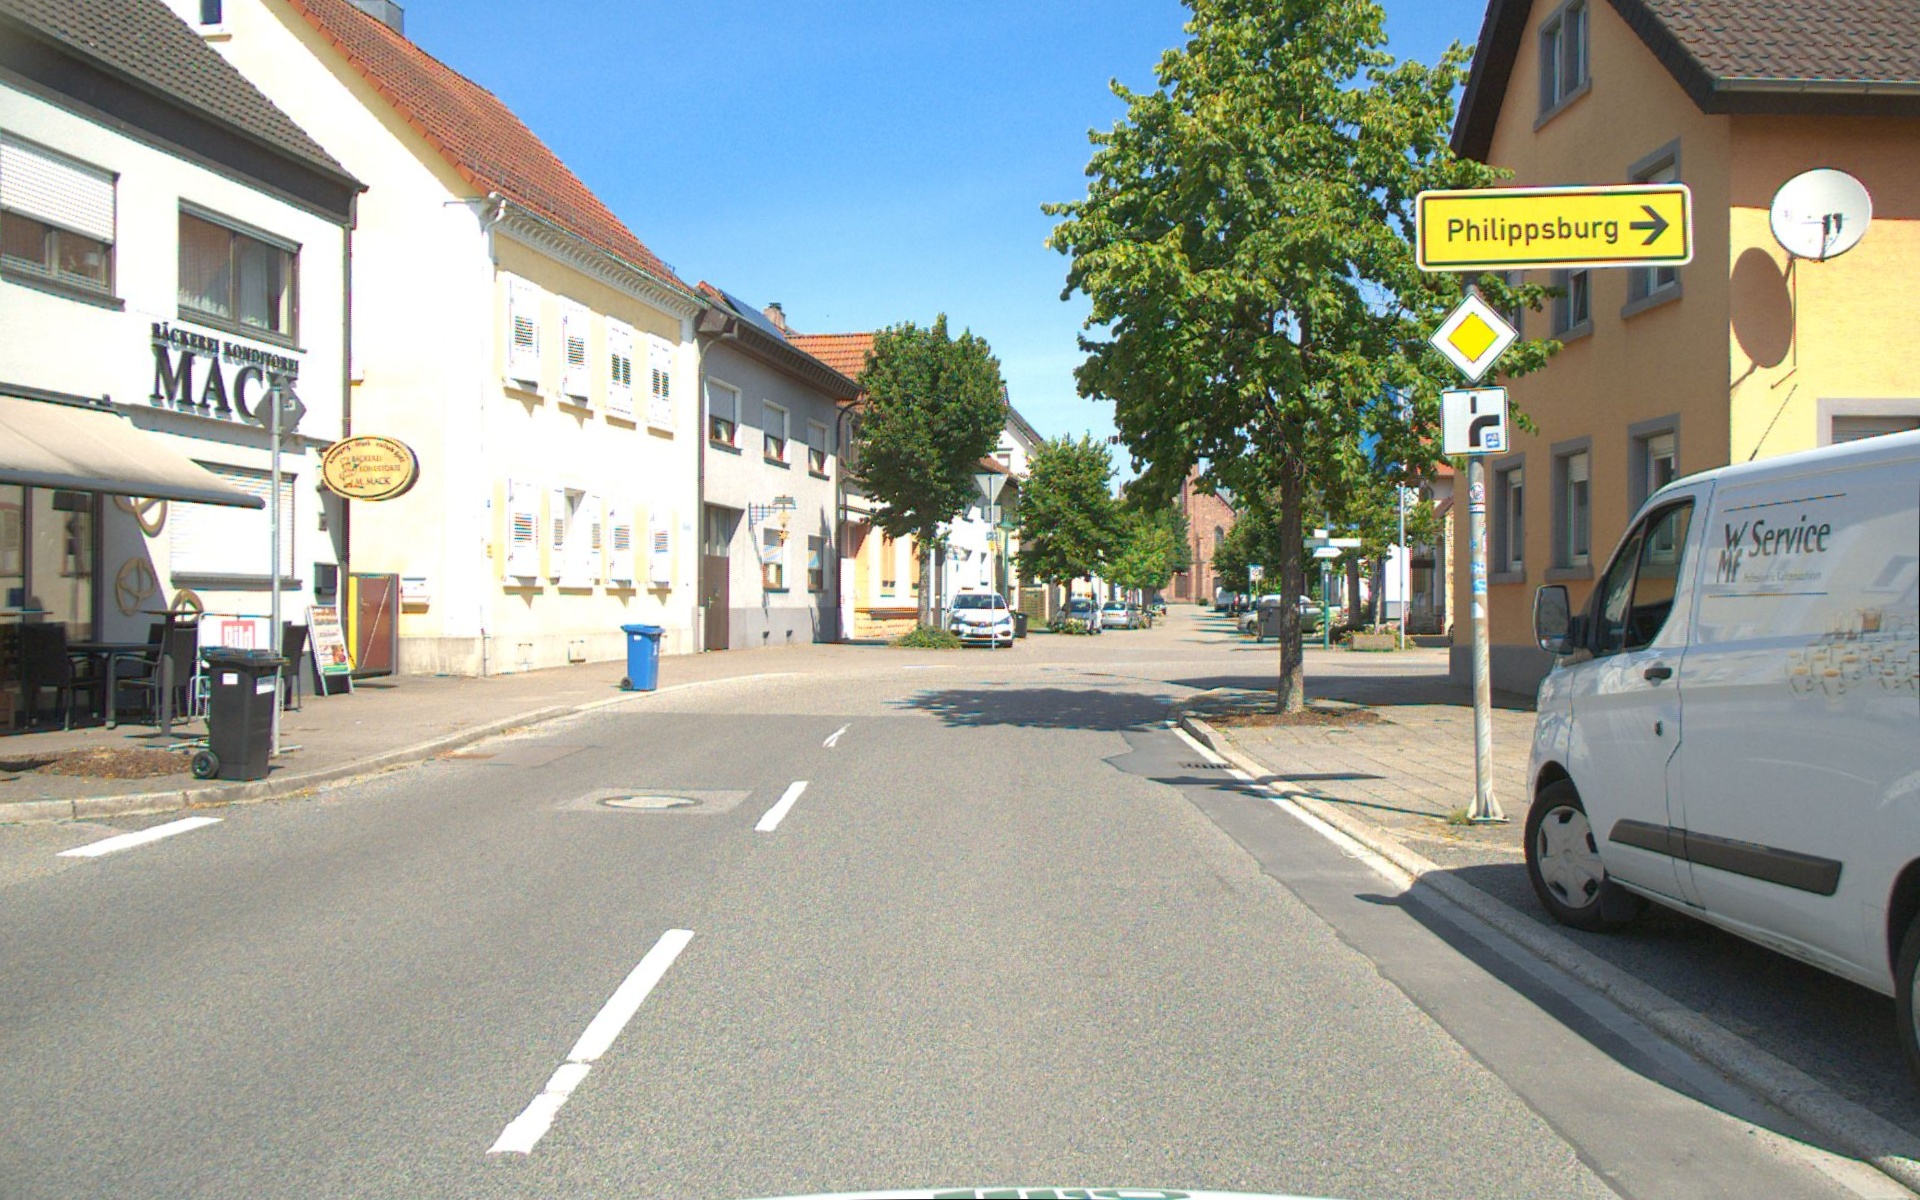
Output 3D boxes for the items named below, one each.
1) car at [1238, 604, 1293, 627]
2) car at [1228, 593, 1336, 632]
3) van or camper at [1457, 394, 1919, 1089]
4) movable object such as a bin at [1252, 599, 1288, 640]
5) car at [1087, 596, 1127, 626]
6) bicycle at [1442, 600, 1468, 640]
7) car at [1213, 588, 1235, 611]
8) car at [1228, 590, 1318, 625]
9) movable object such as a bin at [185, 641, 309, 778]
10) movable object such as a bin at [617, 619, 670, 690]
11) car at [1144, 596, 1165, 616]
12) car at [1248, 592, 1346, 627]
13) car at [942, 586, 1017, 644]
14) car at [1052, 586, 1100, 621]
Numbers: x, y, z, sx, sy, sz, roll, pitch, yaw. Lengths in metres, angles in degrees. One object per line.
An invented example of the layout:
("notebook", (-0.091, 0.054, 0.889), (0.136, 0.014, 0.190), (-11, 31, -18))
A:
("car", (22.765, 1.150, 123.310), (3.902, 1.646, 2.002), (0, 0, 7))
("car", (14.386, 0.545, 74.123), (4.701, 1.652, 2.002), (0, 0, 9))
("van or camper", (3.699, 0.400, 6.218), (1.953, 1.988, 5.345), (0, 0, -1))
("movable object such as a bin", (10.324, 0.640, 55.077), (1.162, 1.361, 0.790), (0, 0, 13))
("car", (7.785, 0.566, 87.734), (1.952, 1.489, 4.001), (1, 0, 3))
("bicycle", (14.428, 0.570, 48.275), (0.580, 1.155, 1.750), (0, 0, 12))
("car", (27.576, -0.020, 172.568), (2.197, 2.318, 4.506), (1, -1, 9))
("car", (14.526, 0.339, 76.927), (4.061, 1.595, 2.002), (0, 0, 9))
("movable object such as a bin", (-5.148, 0.779, 11.967), (0.629, 0.940, 0.613), (0, 0, -1))
("movable object such as a bin", (-4.558, 0.774, 23.863), (0.629, 0.998, 0.614), (0, 0, 2))
("car", (18.543, 0.549, 157.890), (1.951, 1.847, 4.003), (0, 0, 6))
("car", (13.693, 0.392, 67.455), (3.840, 1.368, 2.002), (0, 0, 9))
("car", (0.486, 0.372, 44.598), (1.812, 1.466, 4.511), (0, 0, -2))
("car", (5.417, 0.161, 76.998), (1.951, 1.601, 4.003), (0, 0, 8))
